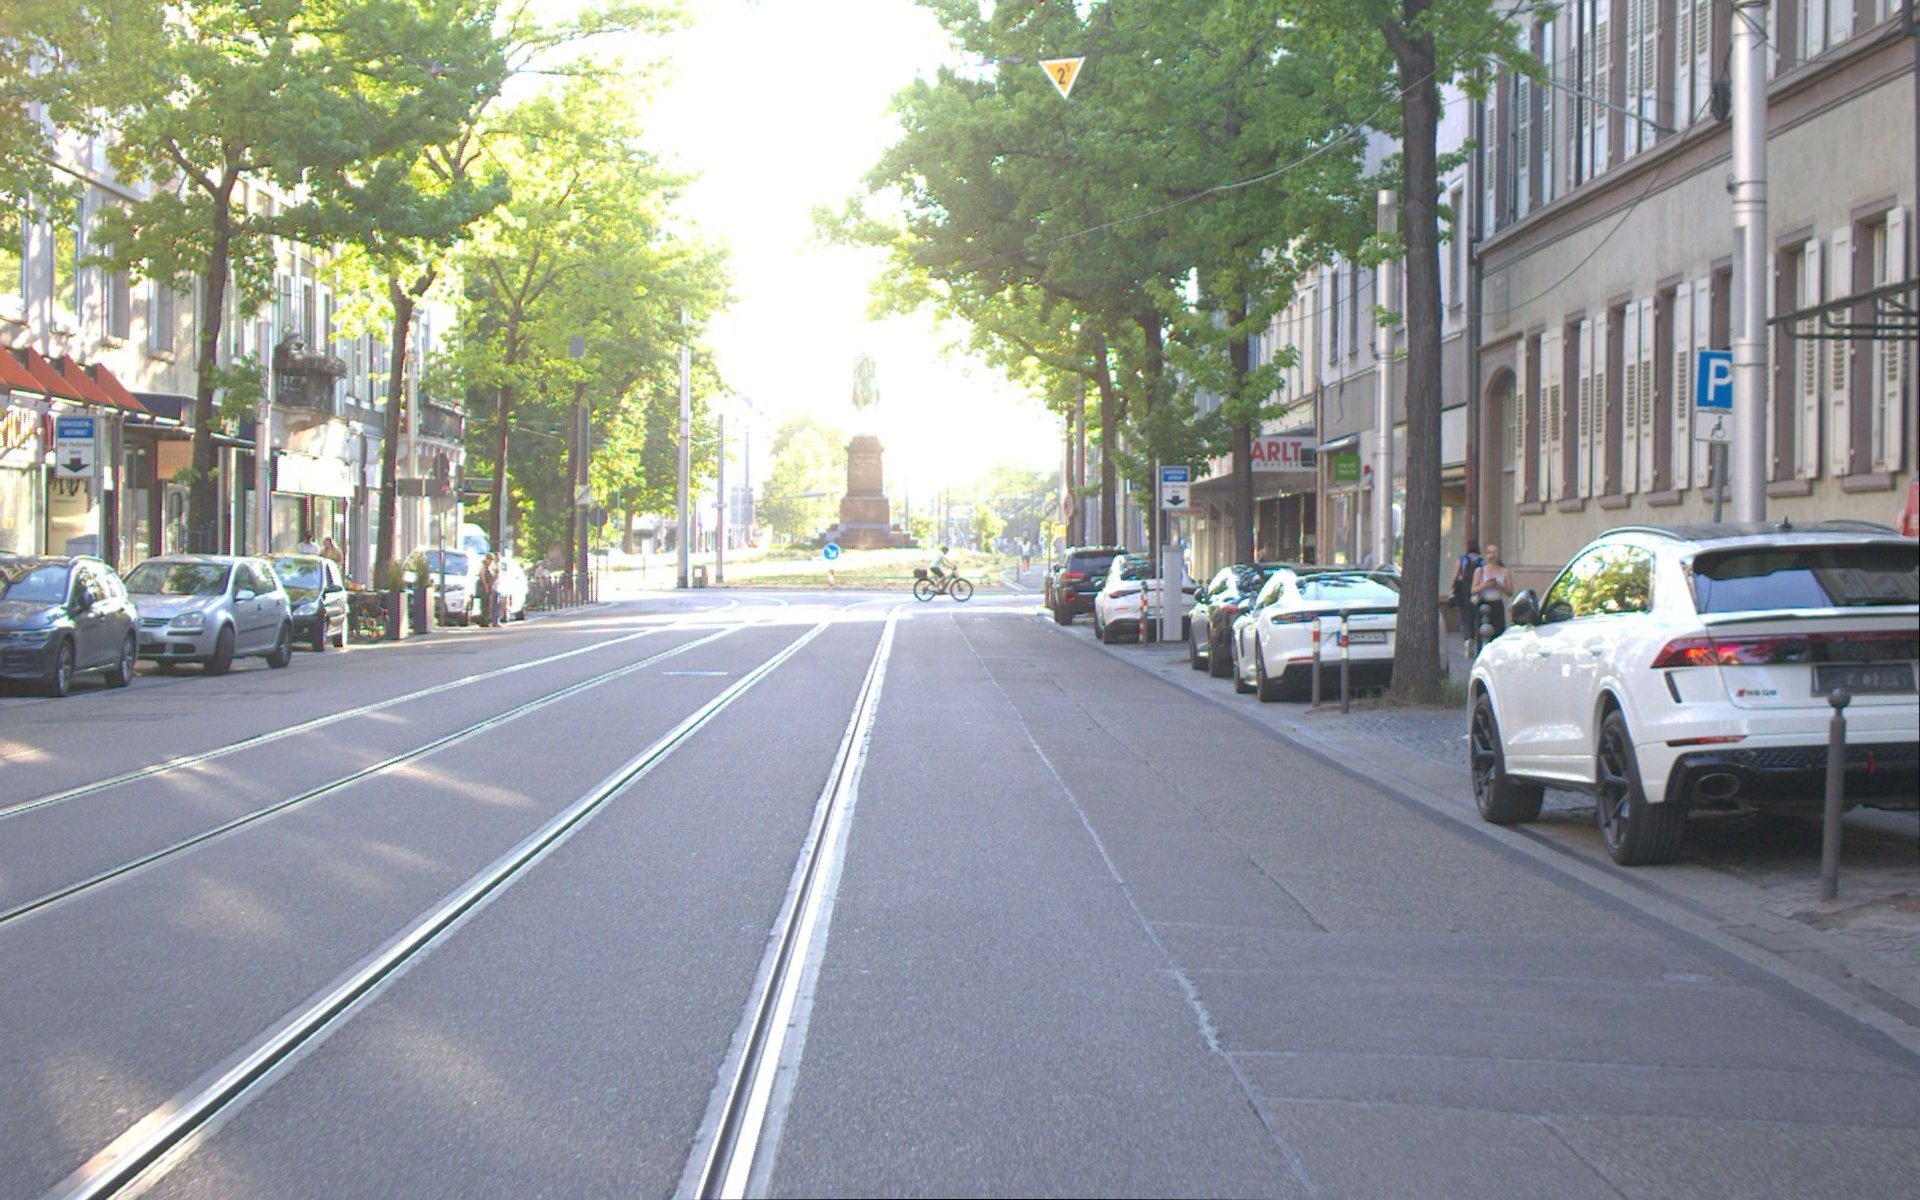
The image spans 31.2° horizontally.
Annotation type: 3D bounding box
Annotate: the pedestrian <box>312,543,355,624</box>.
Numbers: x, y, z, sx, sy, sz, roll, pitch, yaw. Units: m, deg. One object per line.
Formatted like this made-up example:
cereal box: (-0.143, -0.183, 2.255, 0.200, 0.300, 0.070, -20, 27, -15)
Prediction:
pedestrian: (-13.670, -0.370, 75.039, 0.722, 1.754, 1.090, 1, 1, -1)

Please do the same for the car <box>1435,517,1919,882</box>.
car: (4.101, 0.442, 18.710, 1.997, 1.682, 4.968, -2, 0, -4)

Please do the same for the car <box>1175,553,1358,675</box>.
car: (4.012, 0.143, 45.700, 1.833, 1.473, 4.762, -2, 1, -2)

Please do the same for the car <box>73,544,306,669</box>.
car: (-9.792, 0.064, 43.990, 1.767, 1.492, 4.174, 1, 0, 4)

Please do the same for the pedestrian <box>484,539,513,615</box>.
pedestrian: (-9.659, -0.479, 71.931, 0.521, 1.564, 0.634, 0, 0, 0)

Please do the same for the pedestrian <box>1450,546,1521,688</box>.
pedestrian: (5.885, 0.180, 38.518, 0.649, 1.568, 0.798, 1, 1, -1)

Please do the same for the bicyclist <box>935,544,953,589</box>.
bicyclist: (-0.514, -1.066, 110.375, 0.536, 1.433, 0.367, 0, 1, -1)

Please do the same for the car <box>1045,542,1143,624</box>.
car: (3.102, -0.414, 80.212, 1.938, 1.753, 4.680, -3, 1, -1)

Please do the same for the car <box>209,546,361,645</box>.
car: (-10.636, -0.092, 54.392, 1.665, 1.423, 3.827, 3, 1, -1)

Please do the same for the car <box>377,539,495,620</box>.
car: (-11.260, -0.465, 74.133, 1.836, 1.575, 4.116, 4, 1, 0)

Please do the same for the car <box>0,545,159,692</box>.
car: (-10.116, 0.152, 37.503, 1.711, 1.456, 4.486, 2, 1, -1)

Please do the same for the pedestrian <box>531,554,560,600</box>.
pedestrian: (-11.744, -0.649, 97.400, 0.728, 1.286, 0.857, 1, 1, -3)

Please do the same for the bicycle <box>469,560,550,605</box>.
bicycle: (-11.930, -0.462, 91.106, 2.024, 1.101, 0.501, 2, 0, 2)

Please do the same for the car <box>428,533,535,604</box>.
car: (-11.055, -0.748, 79.718, 1.836, 1.575, 4.702, 1, 1, 0)

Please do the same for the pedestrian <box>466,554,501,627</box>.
pedestrian: (-9.859, -0.203, 71.172, 0.620, 1.504, 0.729, 0, 0, 0)

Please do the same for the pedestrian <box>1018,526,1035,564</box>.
pedestrian: (2.799, -2.326, 145.234, 0.636, 1.600, 0.772, 0, 1, -3)

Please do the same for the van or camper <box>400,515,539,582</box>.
van or camper: (-18.457, -1.949, 129.120, 2.607, 2.464, 6.319, -1, 1, -35)

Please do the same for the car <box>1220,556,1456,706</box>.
car: (3.974, 0.282, 36.873, 1.912, 1.415, 4.888, -2, 1, 0)

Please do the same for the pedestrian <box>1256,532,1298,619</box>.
pedestrian: (6.160, -0.479, 66.834, 0.643, 1.664, 0.786, -3, 1, -1)

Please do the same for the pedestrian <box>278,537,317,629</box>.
pedestrian: (-14.451, -0.374, 75.038, 0.722, 2.007, 0.643, 1, 1, -1)

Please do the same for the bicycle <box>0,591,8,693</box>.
bicycle: (-10.438, 0.404, 33.957, 1.971, 0.998, 0.330, 1, 1, 2)

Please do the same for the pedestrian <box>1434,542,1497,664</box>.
pedestrian: (7.013, 0.039, 47.713, 0.658, 1.659, 0.888, -2, 1, -2)

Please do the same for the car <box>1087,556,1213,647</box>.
car: (3.448, -0.010, 63.174, 1.993, 1.493, 4.680, -3, 1, 0)

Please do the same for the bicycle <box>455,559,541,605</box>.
bicycle: (-11.878, -0.454, 88.415, 2.108, 1.101, 0.501, 2, 0, -26)

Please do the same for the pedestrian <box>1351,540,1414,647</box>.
pedestrian: (7.146, -0.118, 58.132, 0.858, 1.747, 0.933, -3, 1, -1)

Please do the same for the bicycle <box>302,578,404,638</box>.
bicycle: (-10.371, 0.134, 58.750, 1.616, 0.962, 0.432, 2, 1, 5)

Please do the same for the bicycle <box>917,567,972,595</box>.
bicycle: (-0.499, -0.616, 110.372, 1.731, 0.861, 0.367, 0, 1, -1)
